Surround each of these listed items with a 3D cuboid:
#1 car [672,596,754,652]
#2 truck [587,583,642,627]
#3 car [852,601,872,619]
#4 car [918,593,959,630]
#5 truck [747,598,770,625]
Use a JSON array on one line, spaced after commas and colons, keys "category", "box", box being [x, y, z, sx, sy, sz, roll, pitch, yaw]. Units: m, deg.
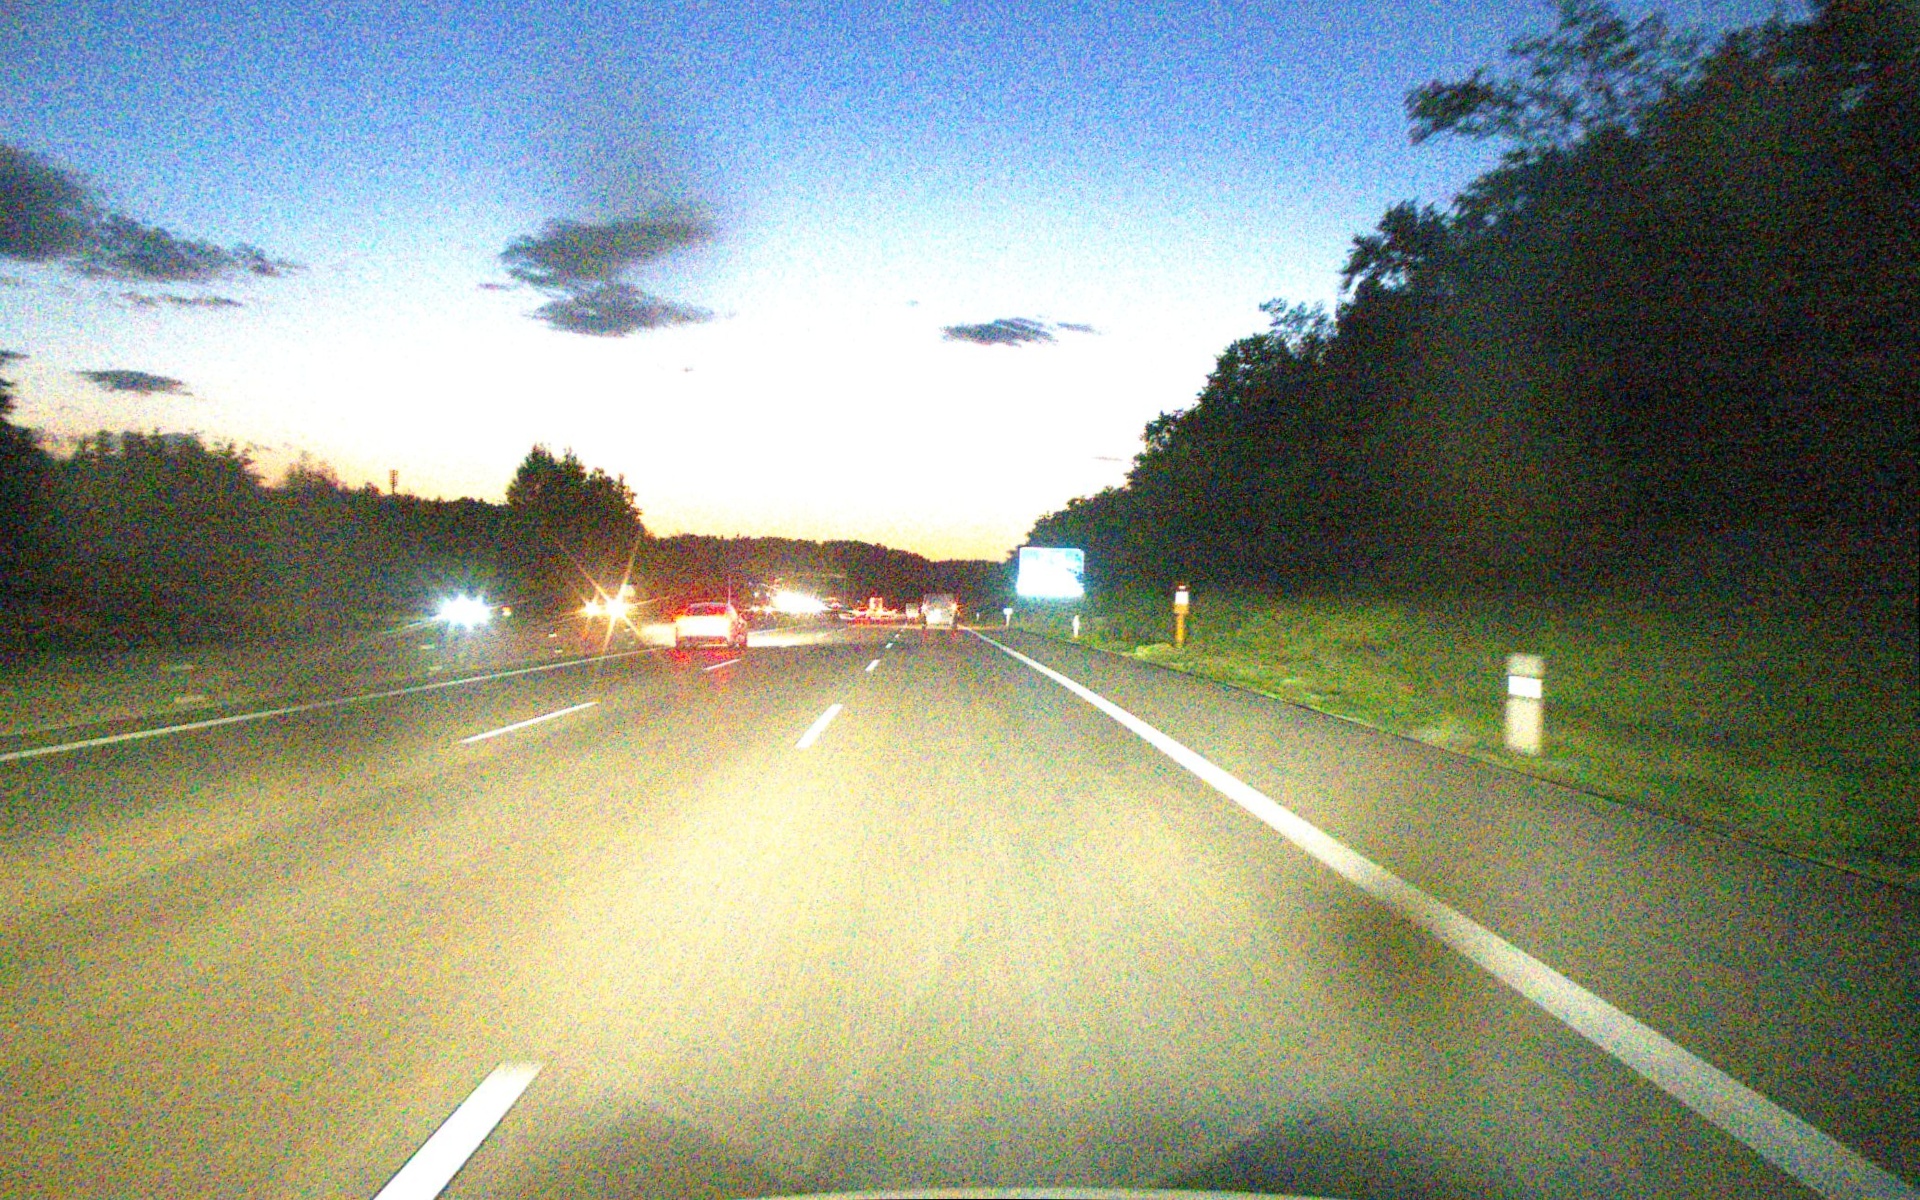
[{"category": "car", "box": [-7.533, 0.690, 50.885, 1.743, 1.512, 5.252, 3, 0, -1]}, {"category": "truck", "box": [-23.725, 0.317, 113.962, 2.152, 2.773, 7.623, 3, 0, -1]}, {"category": "car", "box": [-12.068, 1.221, 204.252, 2.152, 1.989, 4.632, 3, 0, -1]}, {"category": "car", "box": [-1.187, 0.629, 92.584, 2.151, 1.989, 4.763, -1, 0, 0]}, {"category": "truck", "box": [-29.794, 1.721, 244.644, 2.468, 3.919, 9.062, 0, 0, -1]}]
